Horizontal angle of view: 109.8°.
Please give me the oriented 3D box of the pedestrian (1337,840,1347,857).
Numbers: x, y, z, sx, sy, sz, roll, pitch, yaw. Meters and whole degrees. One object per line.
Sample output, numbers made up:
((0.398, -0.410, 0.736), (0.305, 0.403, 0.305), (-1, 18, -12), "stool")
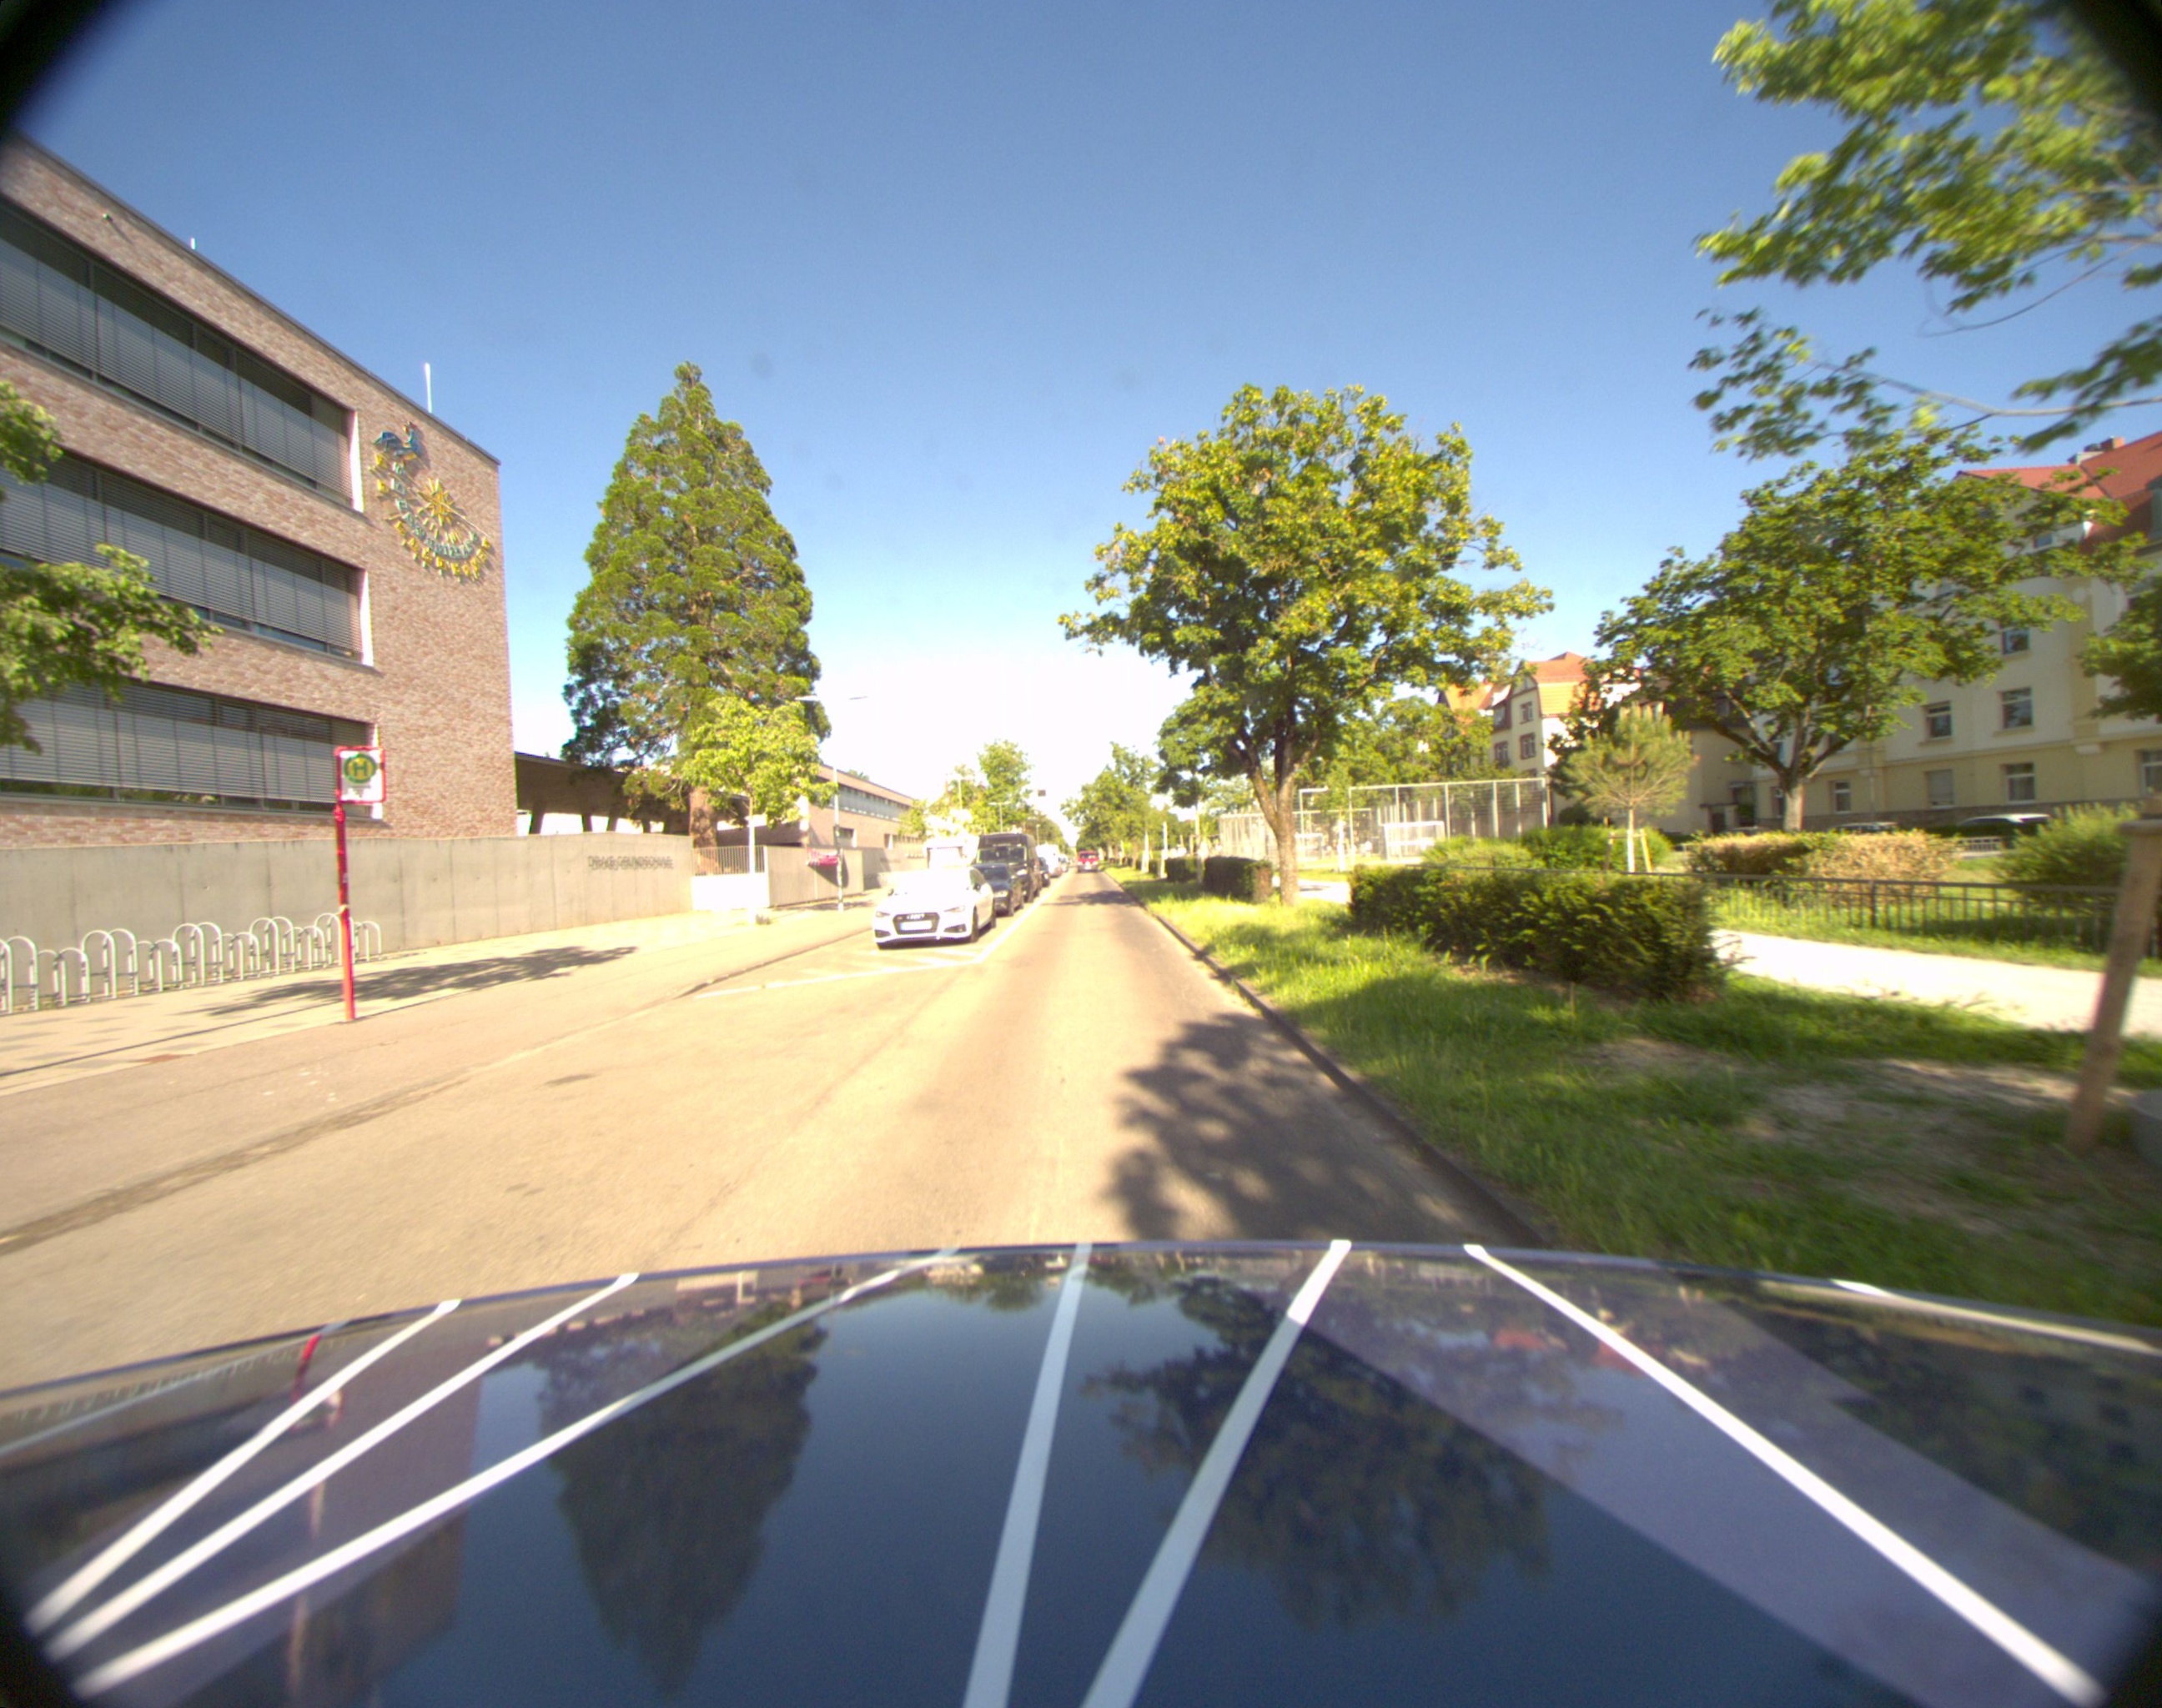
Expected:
((21.559, -0.447, 62.771), (0.648, 1.310, 0.651), (-3, 1, 30), "pedestrian")

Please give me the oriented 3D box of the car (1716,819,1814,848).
((39.920, -1.159, 44.470), (1.799, 1.501, 4.347), (-3, 0, 1), "car")

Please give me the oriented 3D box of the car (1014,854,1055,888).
((-2.435, 0.874, 40.693), (1.851, 1.631, 4.503), (-3, 0, 0), "car")

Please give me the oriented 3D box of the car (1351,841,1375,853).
((40.037, -1.031, 107.902), (1.799, 1.545, 4.000), (-3, 0, 0), "car")

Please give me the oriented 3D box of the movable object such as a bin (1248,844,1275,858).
((17.260, -0.248, 72.669), (2.337, 1.234, 1.056), (-2, 0, -3), "movable object such as a bin")

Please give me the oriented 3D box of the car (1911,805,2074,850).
((40.096, -1.106, 33.626), (1.799, 1.767, 4.488), (-3, 0, 1), "car")

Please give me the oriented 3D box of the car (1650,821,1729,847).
((39.944, -1.281, 50.042), (1.799, 1.501, 4.231), (-3, 0, 1), "car")

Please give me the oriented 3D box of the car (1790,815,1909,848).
((39.964, -1.141, 39.662), (1.799, 1.501, 4.347), (-3, 0, 1), "car")

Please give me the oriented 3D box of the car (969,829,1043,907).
((-2.645, 0.458, 28.555), (2.121, 2.501, 6.531), (-3, 0, -1), "car")

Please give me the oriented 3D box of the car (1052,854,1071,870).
((-1.945, 0.826, 77.701), (1.705, 1.470, 4.173), (-3, 0, 1), "car")

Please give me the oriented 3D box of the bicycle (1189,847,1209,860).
((11.511, -0.041, 74.163), (1.799, 1.101, 0.500), (-3, 0, -1), "bicycle")

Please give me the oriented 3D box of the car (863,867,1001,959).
((-2.816, 1.061, 15.429), (1.799, 1.412, 4.657), (-3, 0, 0), "car")

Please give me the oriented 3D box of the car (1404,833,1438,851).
((39.942, -1.407, 89.483), (1.799, 1.971, 4.835), (-3, 0, 1), "car")

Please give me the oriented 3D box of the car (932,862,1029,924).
((-2.732, 1.024, 21.684), (1.998, 1.412, 4.635), (-3, 0, 1), "car")

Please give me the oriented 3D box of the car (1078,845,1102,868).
((0.822, 0.254, 70.082), (2.092, 2.000, 4.844), (0, 0, 0), "car")

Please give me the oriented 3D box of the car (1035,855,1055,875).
((-3.118, 0.942, 66.491), (1.624, 1.579, 3.591), (-3, 0, -2), "car")

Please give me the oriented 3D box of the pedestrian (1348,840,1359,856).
((22.366, -0.486, 62.335), (0.648, 1.310, 0.651), (-3, 1, 30), "pedestrian")

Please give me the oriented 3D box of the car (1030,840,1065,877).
((-2.500, 0.319, 58.347), (2.246, 2.559, 5.432), (-3, 0, 1), "car")
